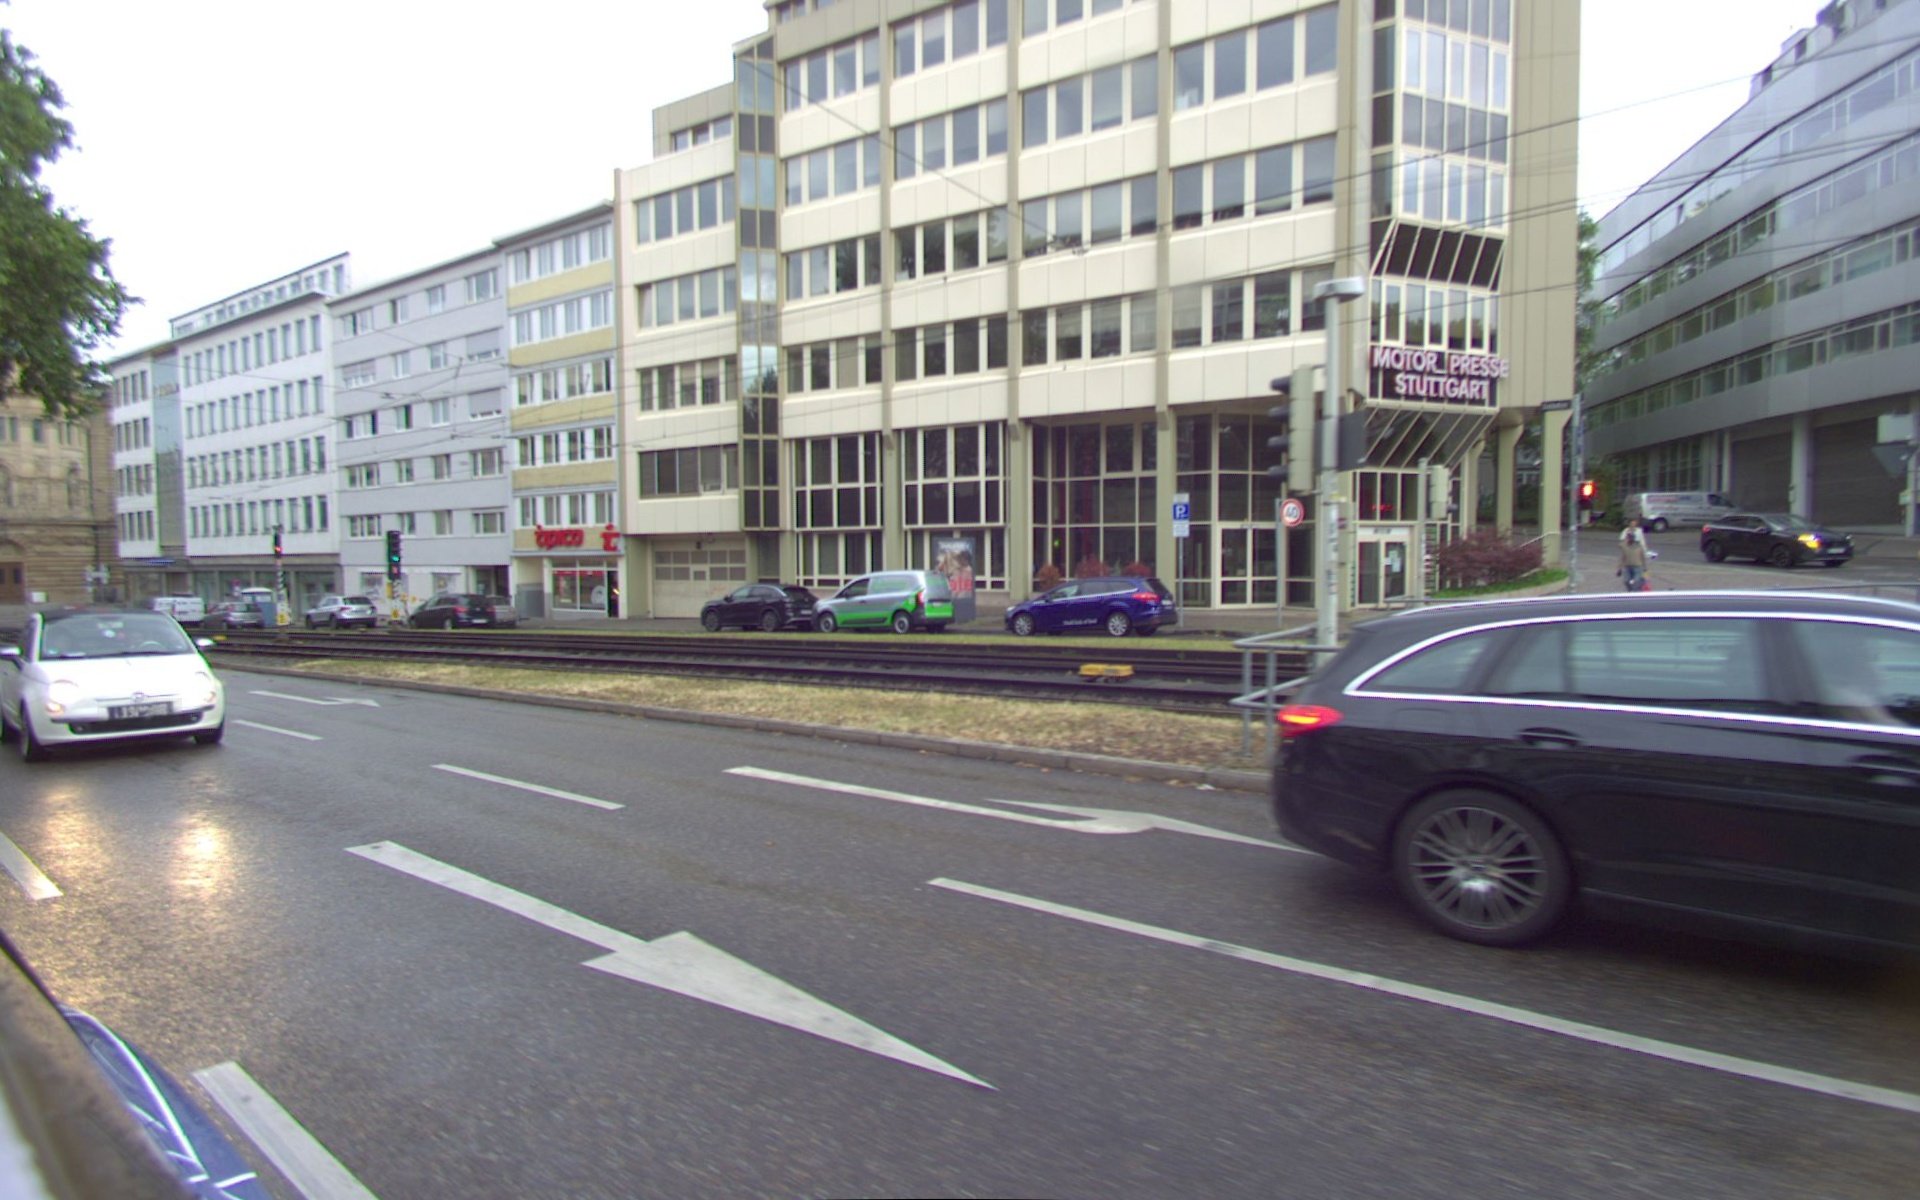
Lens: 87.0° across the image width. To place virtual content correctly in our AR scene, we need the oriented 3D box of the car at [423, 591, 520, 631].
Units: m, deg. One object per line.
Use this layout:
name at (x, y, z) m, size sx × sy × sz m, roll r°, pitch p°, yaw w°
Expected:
car at (-20.328, 0.443, 42.062) m, size 4.066 × 1.524 × 1.782 m, roll 0°, pitch 3°, yaw 34°

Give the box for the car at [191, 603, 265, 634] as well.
car at (-35.111, 0.881, 48.510) m, size 3.861 × 1.367 × 1.614 m, roll -1°, pitch 2°, yaw 34°

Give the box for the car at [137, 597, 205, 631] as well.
car at (-48.184, 0.841, 61.784) m, size 4.465 × 1.949 × 1.869 m, roll 0°, pitch 3°, yaw 34°

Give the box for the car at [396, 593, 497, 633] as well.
car at (-19.077, 0.473, 37.566) m, size 3.861 × 1.367 × 1.614 m, roll -1°, pitch 2°, yaw 34°

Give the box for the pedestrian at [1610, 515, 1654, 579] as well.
pedestrian at (17.951, -1.420, 27.047) m, size 0.711 × 1.651 × 0.759 m, roll -1°, pitch 3°, yaw 6°

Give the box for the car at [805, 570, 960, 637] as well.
car at (-2.275, 0.093, 29.234) m, size 4.204 × 1.759 × 1.782 m, roll 0°, pitch 3°, yaw 33°

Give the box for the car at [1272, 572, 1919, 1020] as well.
car at (3.721, 0.630, 3.935) m, size 4.473 × 1.453 × 1.777 m, roll 0°, pitch 0°, yaw 41°

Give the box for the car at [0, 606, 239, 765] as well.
car at (-9.338, 0.794, 11.036) m, size 3.438 × 1.445 × 1.633 m, roll 0°, pitch 0°, yaw 41°

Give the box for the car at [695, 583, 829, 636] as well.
car at (-6.320, 0.269, 32.121) m, size 4.066 × 1.524 × 1.782 m, roll 0°, pitch 3°, yaw 34°

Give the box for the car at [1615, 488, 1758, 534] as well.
car at (36.028, -4.395, 50.327) m, size 5.357 × 2.029 × 1.993 m, roll 0°, pitch 0°, yaw 12°

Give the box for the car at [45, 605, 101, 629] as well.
car at (-63.855, 1.205, 72.876) m, size 4.465 × 1.636 × 1.869 m, roll 0°, pitch 3°, yaw 34°

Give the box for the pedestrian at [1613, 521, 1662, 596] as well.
pedestrian at (16.693, -1.027, 24.947) m, size 0.748 × 1.800 × 0.832 m, roll -4°, pitch 4°, yaw -41°

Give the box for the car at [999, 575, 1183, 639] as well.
car at (3.220, 0.161, 25.225) m, size 4.207 × 1.488 × 1.780 m, roll 0°, pitch 0°, yaw 35°

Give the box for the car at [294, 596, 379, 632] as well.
car at (-29.932, 0.650, 48.556) m, size 4.066 × 1.524 × 1.869 m, roll 0°, pitch 3°, yaw 34°

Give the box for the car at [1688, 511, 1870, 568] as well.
car at (25.933, -1.985, 32.322) m, size 1.974 × 1.591 × 4.885 m, roll -2°, pitch 5°, yaw 3°
